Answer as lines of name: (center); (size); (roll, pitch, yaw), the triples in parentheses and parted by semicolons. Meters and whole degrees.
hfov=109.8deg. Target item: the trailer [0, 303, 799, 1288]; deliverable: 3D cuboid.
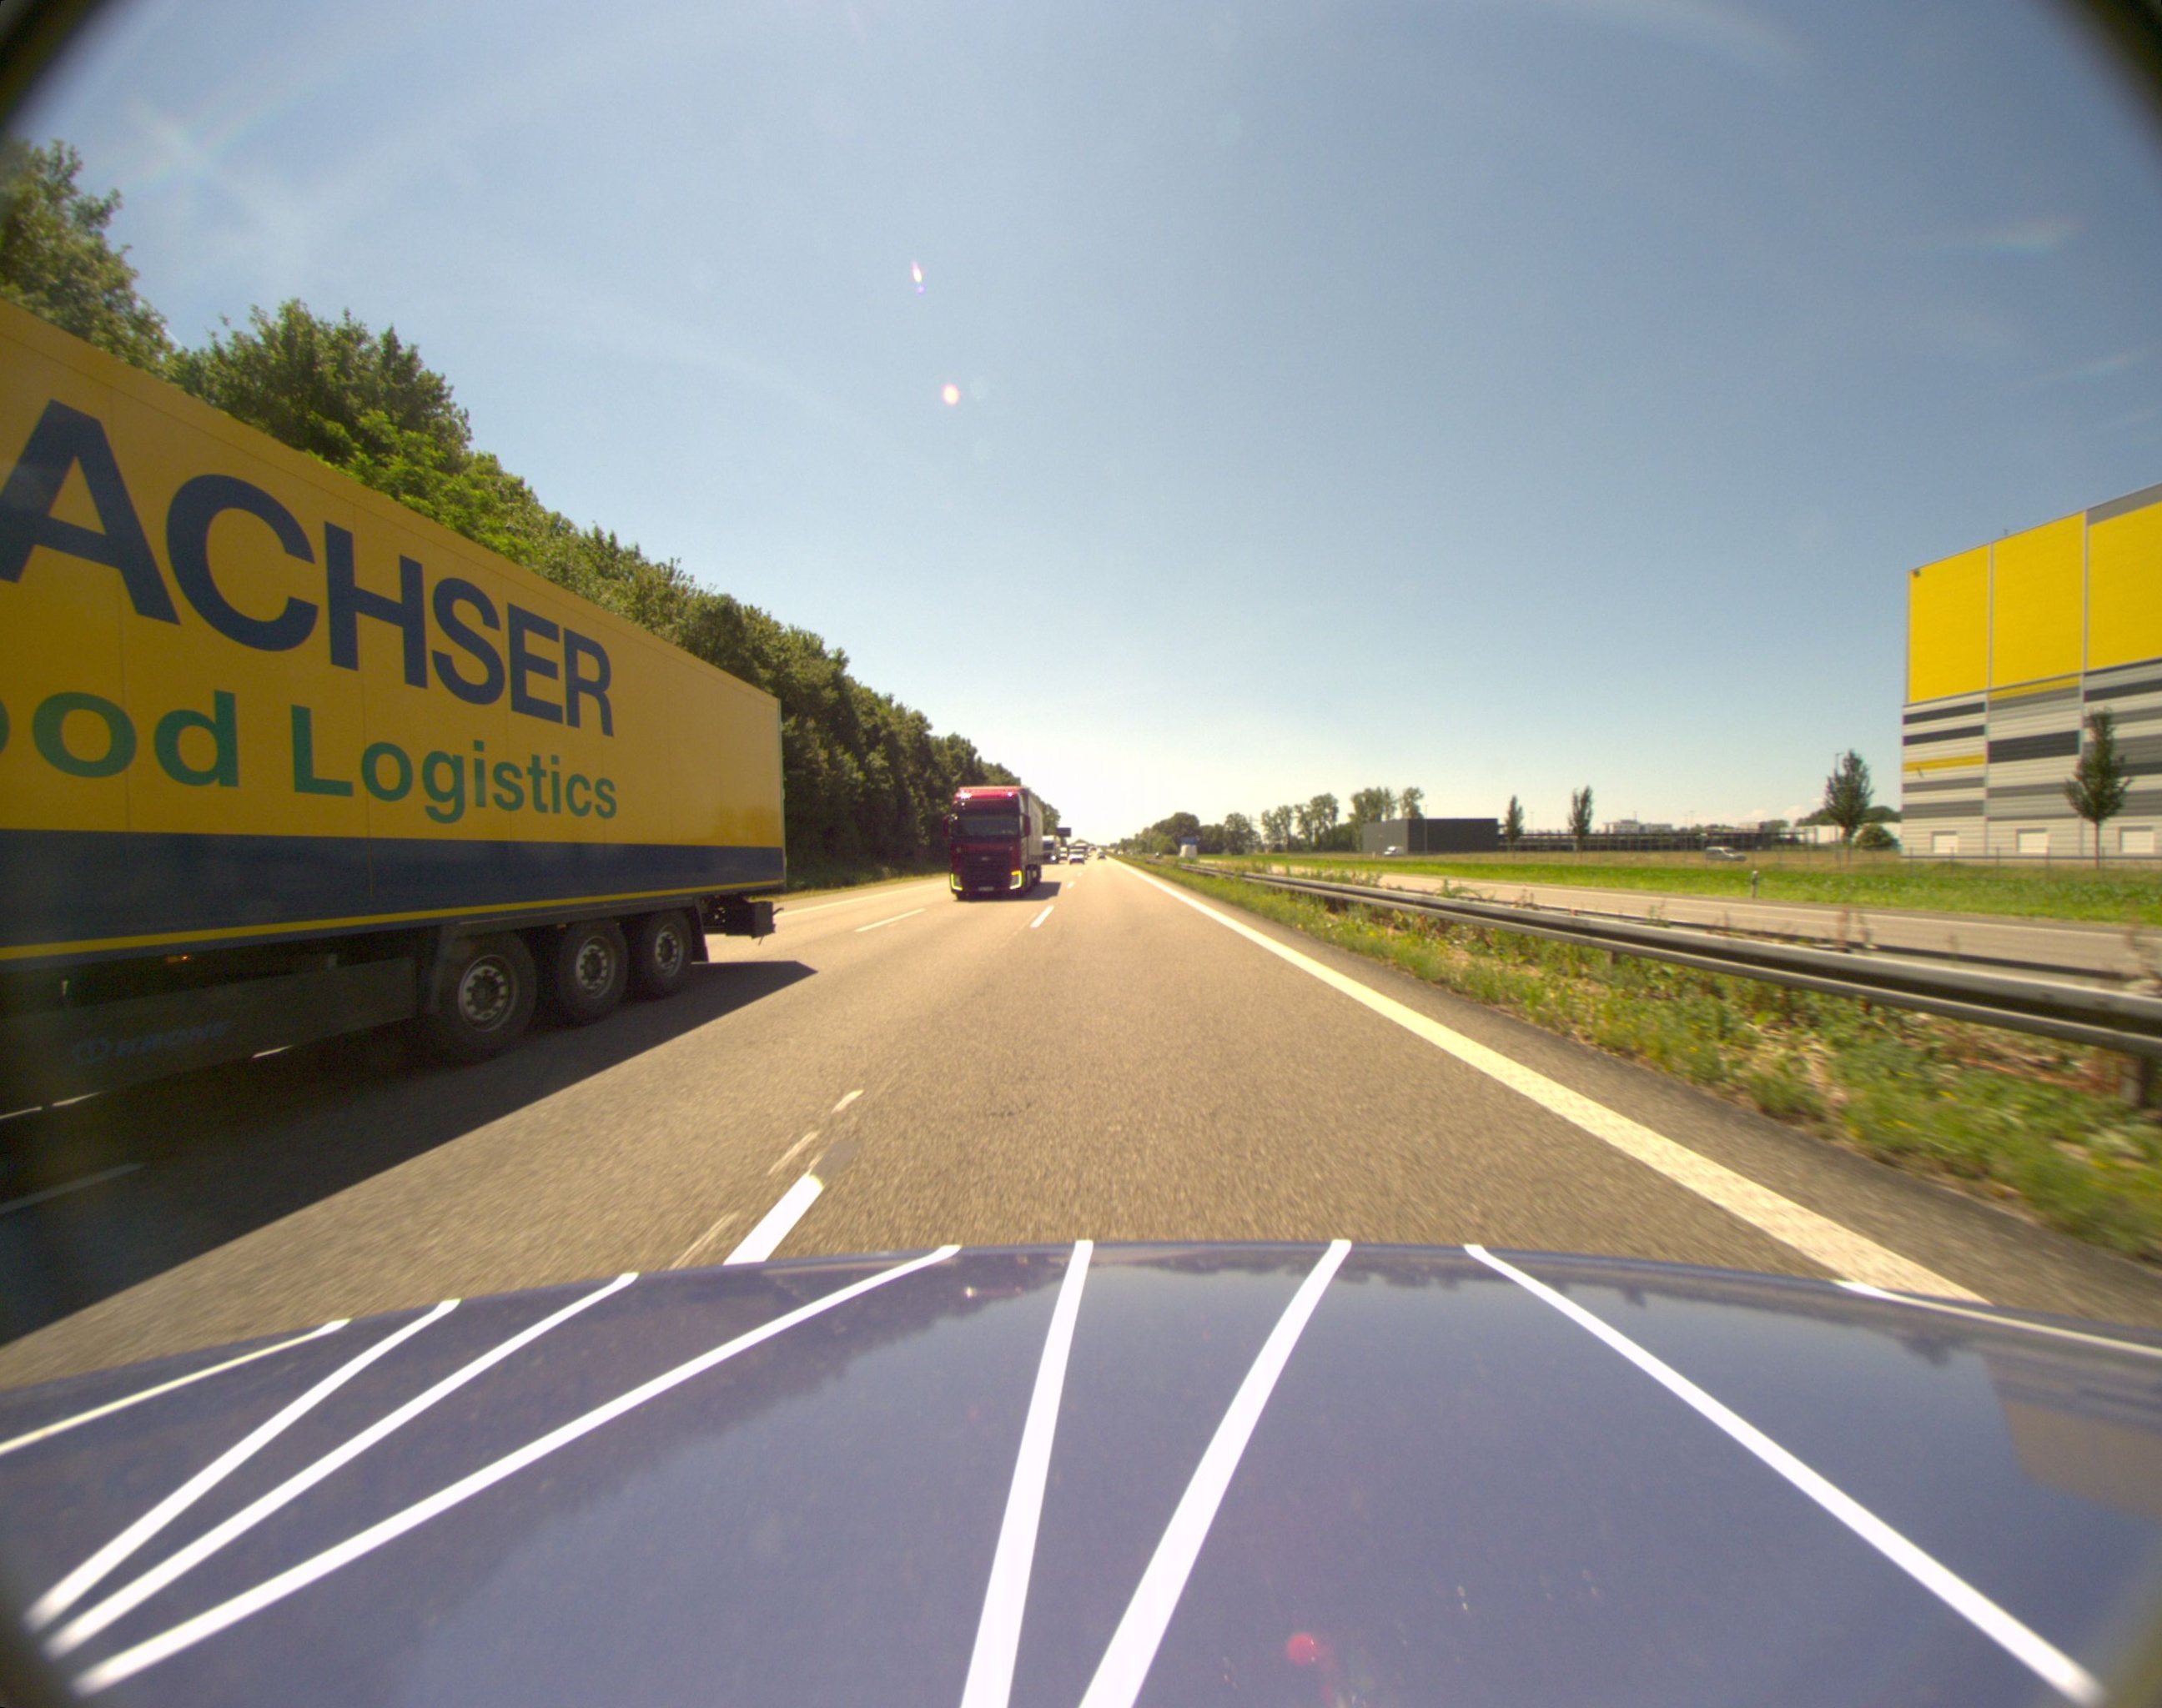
trailer: (-5.764, -0.240, 4.664); (2.684, 4.046, 13.834); (-2, 1, 0)

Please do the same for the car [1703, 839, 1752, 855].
car: (72.102, -0.774, 84.821); (1.832, 1.726, 4.269); (0, 1, 0)

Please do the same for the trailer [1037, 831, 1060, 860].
trailer: (-4.782, -1.208, 114.879); (3.057, 4.046, 13.831); (-2, 1, -2)

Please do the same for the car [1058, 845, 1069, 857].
car: (-3.535, -0.562, 154.017); (2.073, 2.328, 5.767); (0, 1, 0)

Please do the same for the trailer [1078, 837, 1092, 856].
trailer: (0.945, -1.616, 172.378); (3.005, 4.046, 13.834); (-2, 1, 0)

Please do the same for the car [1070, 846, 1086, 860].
car: (-0.368, -0.161, 101.060); (2.073, 1.823, 5.109); (0, 1, 0)

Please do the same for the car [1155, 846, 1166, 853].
car: (18.796, -1.049, 179.438); (2.019, 1.735, 4.910); (0, 1, 1)

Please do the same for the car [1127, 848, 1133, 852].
car: (16.488, -1.371, 256.198); (1.729, 1.344, 4.368); (0, 1, 1)

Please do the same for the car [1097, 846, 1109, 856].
car: (4.412, -0.649, 153.136); (2.073, 1.959, 5.109); (0, 1, 0)

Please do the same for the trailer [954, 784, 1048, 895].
trailer: (-3.256, -0.585, 35.133); (2.885, 4.046, 13.833); (-2, 1, -1)

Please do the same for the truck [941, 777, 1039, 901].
truck: (-3.179, -0.519, 28.165); (2.870, 4.046, 5.770); (-2, 1, -1)

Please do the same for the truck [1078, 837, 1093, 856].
truck: (0.925, -1.561, 165.105); (2.998, 4.046, 5.771); (-2, 1, 0)

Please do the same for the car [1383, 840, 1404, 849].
car: (77.733, -2.450, 189.062); (2.559, 2.235, 6.081); (0, 1, 0)

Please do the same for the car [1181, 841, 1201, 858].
car: (17.449, -0.720, 120.923); (2.072, 2.539, 7.934); (0, 1, 1)

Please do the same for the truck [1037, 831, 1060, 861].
truck: (-4.600, -1.161, 108.110); (3.064, 4.046, 5.770); (-2, 1, -2)
